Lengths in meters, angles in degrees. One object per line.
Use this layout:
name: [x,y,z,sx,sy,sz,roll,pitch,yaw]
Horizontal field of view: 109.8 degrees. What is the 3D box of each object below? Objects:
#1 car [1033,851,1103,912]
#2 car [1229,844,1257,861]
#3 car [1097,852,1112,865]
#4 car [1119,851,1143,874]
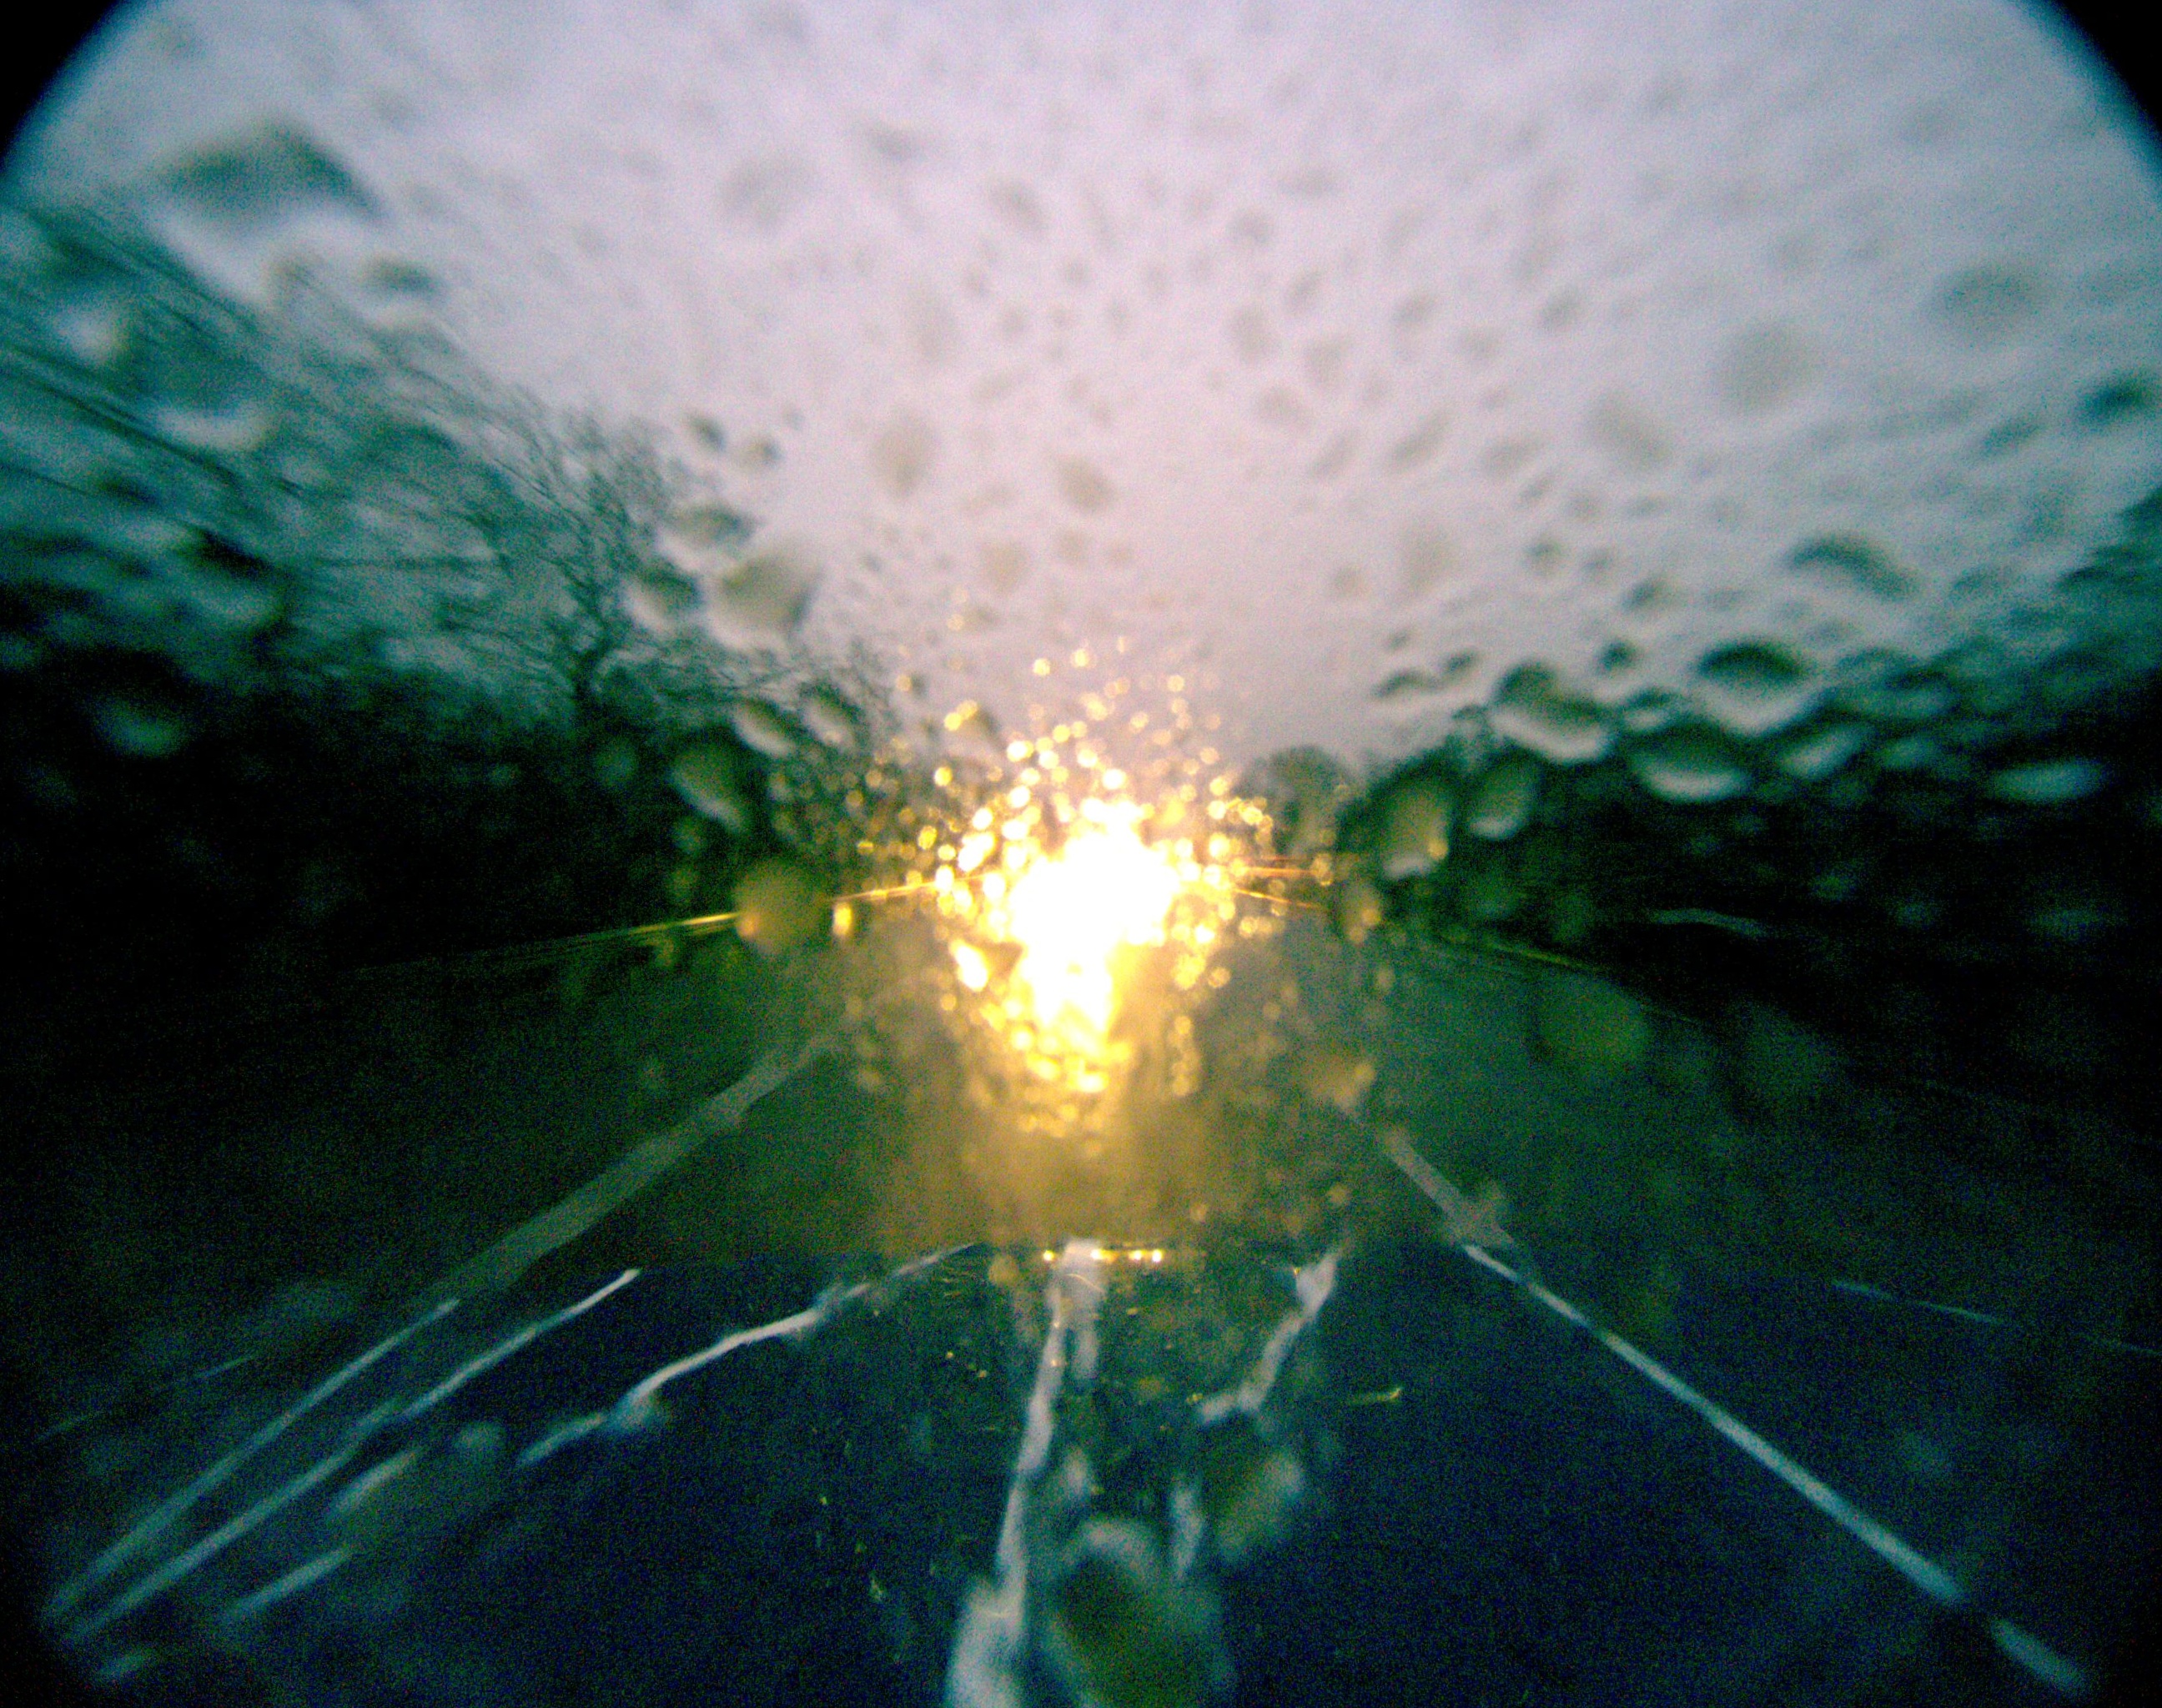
car: [-0.344,0.831,25.212,1.928,1.781,3.941,-2,0,4]
car: [17.166,-0.184,80.699,1.998,1.580,4.959,-3,0,2]
car: [2.991,0.539,95.926,1.741,1.441,4.001,-2,0,3]
car: [4.285,0.716,65.799,1.766,1.922,4.000,-2,0,1]
